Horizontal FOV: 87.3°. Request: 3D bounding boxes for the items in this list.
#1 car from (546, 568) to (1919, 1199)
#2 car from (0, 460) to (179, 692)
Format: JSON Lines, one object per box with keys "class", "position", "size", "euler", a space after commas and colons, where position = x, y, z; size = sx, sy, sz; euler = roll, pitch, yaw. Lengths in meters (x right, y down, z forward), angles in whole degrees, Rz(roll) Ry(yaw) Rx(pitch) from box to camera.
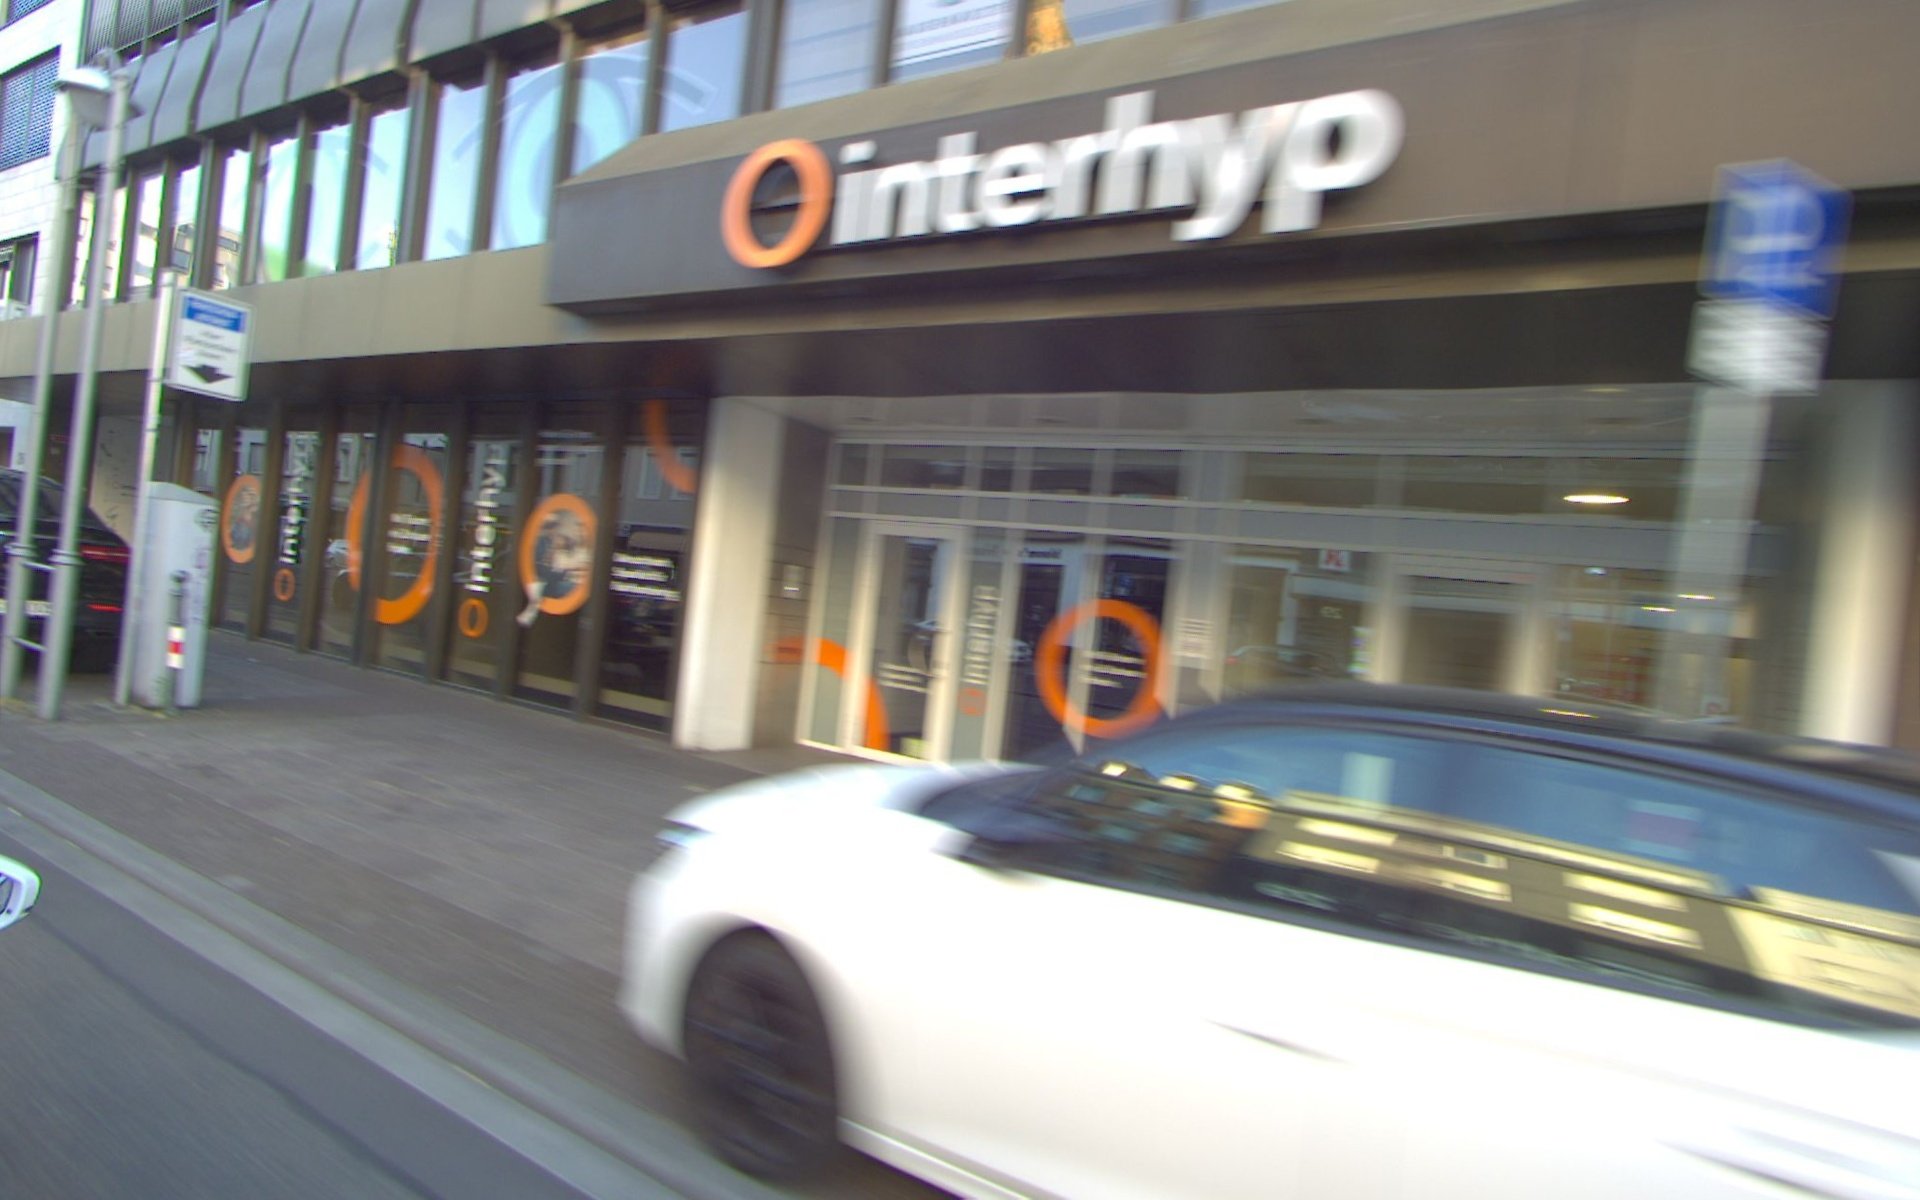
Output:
{"class": "car", "position": [0.928, 0.867, 2.715], "size": [3.822, 1.451, 1.797], "euler": [7, 1, 31]}
{"class": "car", "position": [-9.085, -0.375, 8.817], "size": [4.489, 1.749, 1.996], "euler": [6, 0, 31]}
